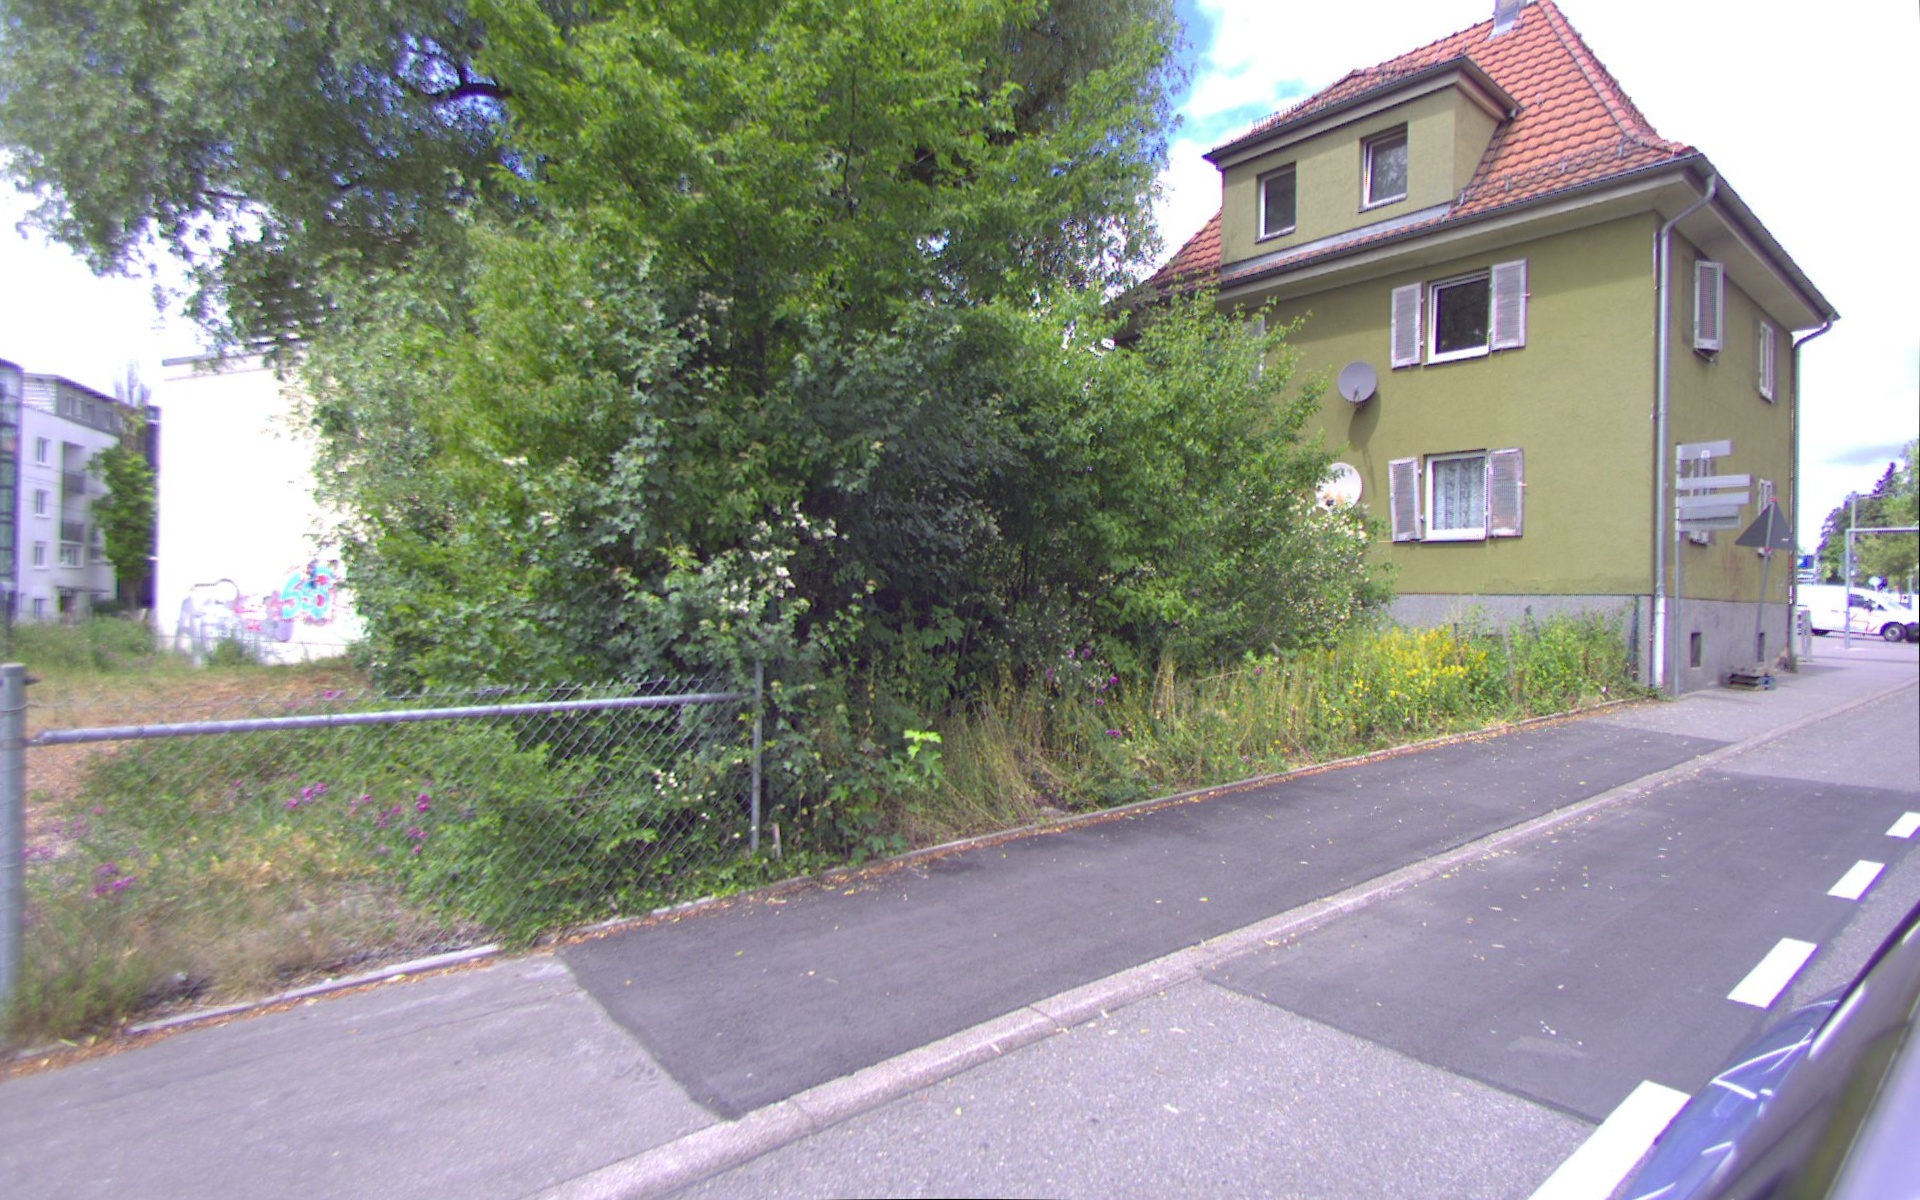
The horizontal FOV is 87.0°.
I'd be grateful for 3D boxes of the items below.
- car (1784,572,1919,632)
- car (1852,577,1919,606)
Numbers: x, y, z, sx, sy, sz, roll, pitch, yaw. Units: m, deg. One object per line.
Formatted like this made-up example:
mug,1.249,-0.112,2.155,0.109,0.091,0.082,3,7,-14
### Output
car,32.180,0.014,35.705,1.960,2.019,4.377,0,1,-29
car,63.924,-0.595,68.953,1.763,1.820,4.512,1,2,-10
